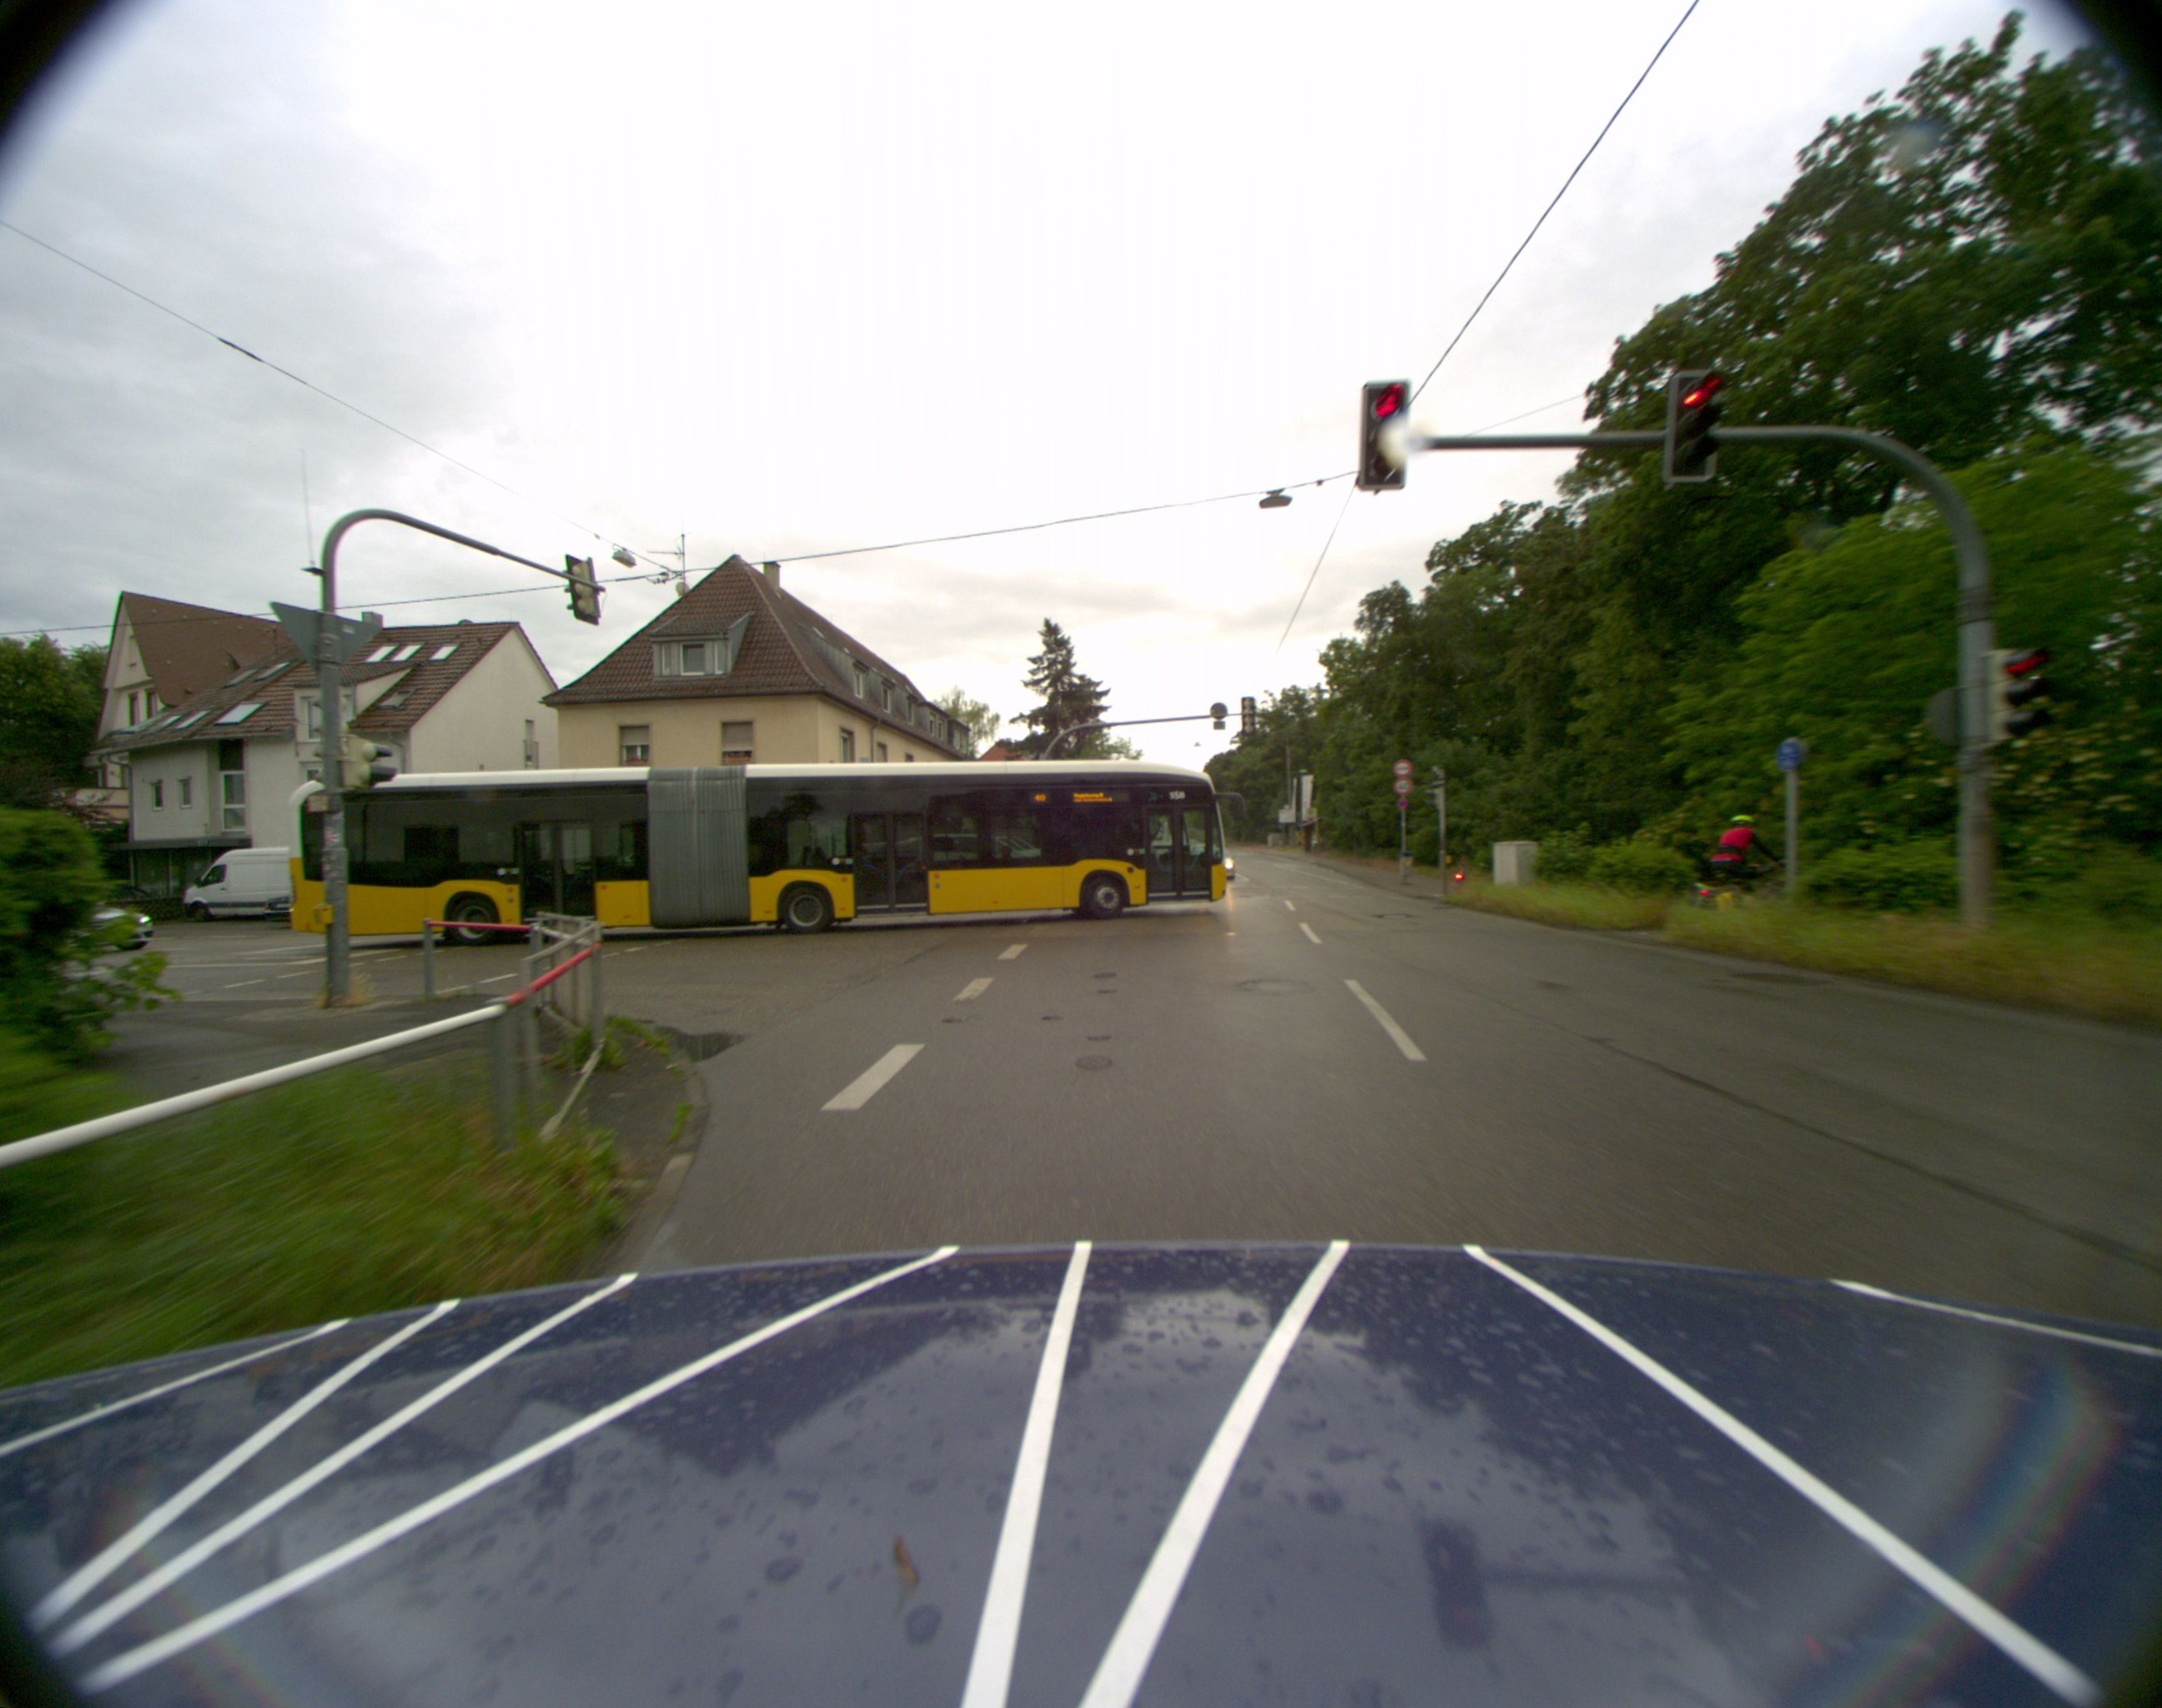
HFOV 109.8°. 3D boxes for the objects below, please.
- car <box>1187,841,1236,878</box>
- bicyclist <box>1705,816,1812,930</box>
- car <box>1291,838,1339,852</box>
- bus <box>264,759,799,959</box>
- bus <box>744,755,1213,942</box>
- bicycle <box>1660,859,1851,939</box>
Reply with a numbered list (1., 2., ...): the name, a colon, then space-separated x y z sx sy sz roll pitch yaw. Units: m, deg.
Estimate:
1. car: 5.470 0.177 32.242 1.823 1.347 4.000 -1 3 7
2. bicyclist: 10.115 0.277 11.371 1.047 1.643 0.580 -2 2 10
3. car: 21.695 -0.820 70.544 3.995 1.193 1.606 -2 2 5
4. bus: -10.609 0.085 15.370 8.674 3.378 2.685 -2 0 -1
5. bus: -2.020 -0.190 16.407 9.040 3.378 2.907 -2 0 -9
6. bicycle: 10.062 0.669 11.399 2.151 1.090 0.580 -2 2 10
